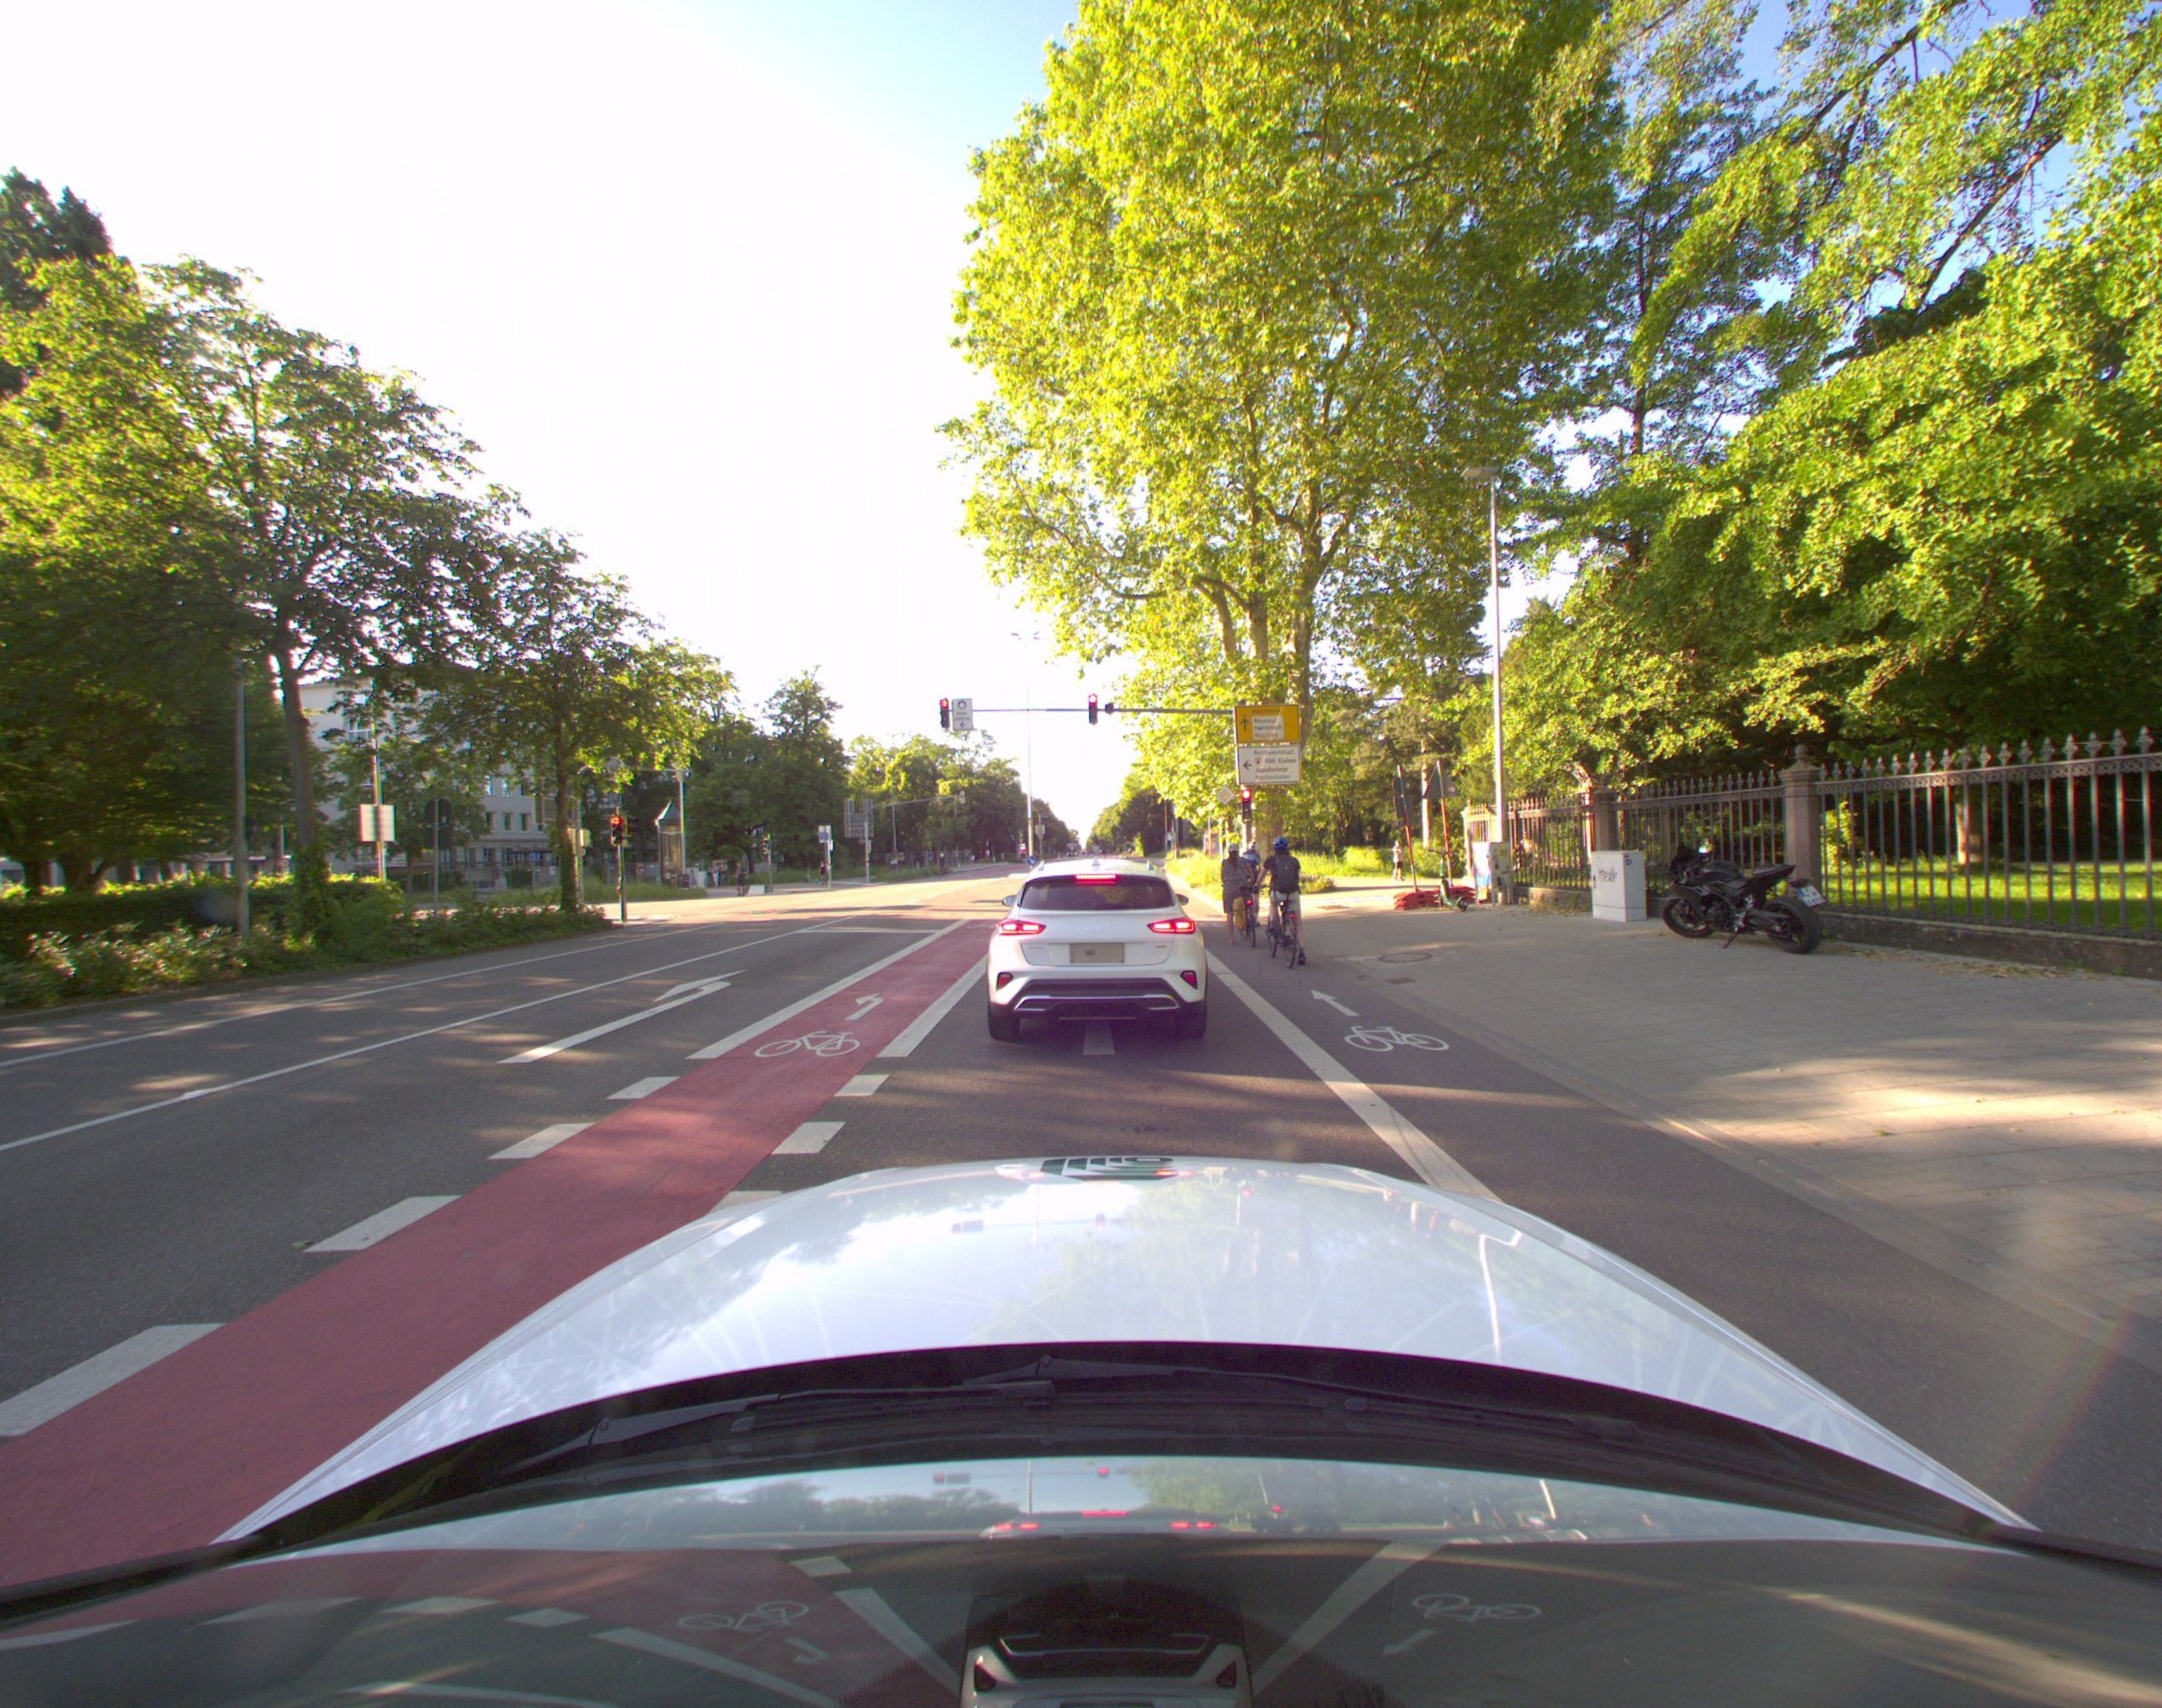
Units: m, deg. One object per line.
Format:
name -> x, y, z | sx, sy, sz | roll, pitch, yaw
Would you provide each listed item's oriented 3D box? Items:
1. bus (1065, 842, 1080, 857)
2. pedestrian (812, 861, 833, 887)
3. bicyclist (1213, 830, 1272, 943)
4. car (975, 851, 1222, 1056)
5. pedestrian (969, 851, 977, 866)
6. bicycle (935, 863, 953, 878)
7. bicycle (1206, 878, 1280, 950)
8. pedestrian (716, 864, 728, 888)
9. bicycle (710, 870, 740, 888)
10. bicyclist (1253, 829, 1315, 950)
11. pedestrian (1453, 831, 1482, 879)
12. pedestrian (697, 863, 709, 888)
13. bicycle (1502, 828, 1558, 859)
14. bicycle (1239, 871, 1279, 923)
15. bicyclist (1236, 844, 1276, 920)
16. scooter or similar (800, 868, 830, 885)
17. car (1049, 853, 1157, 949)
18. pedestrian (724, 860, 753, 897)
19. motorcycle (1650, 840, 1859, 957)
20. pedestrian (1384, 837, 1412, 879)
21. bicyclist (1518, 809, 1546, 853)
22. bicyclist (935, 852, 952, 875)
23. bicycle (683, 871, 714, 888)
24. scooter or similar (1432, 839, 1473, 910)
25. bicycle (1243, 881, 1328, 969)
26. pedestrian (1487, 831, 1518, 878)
bus -> -2.452, -1.250, 218.996 | 3.731, 3.673, 13.231 | -2, 0, -2
pedestrian -> -17.280, 1.329, 54.416 | 1.086, 1.603, 0.999 | -3, 0, -5
bicyclist -> 2.665, 0.510, 13.542 | 0.750, 1.795, 1.165 | 0, 0, 0
car -> 0.148, 0.733, 8.064 | 1.815, 1.480, 3.936 | -1, 0, 0
pedestrian -> -13.038, 0.546, 98.582 | 0.782, 1.785, 0.751 | -1, -1, 2
bicycle -> -9.911, 1.196, 58.951 | 0.660, 0.989, 2.507 | -3, 0, 4
bicycle -> 2.665, 0.948, 13.669 | 0.755, 1.013, 2.569 | 0, 0, 0
pedestrian -> -24.128, 1.450, 54.678 | 0.628, 1.580, 0.444 | -1, -1, -8
bicycle -> -23.922, 1.675, 54.742 | 1.859, 1.148, 0.290 | -1, -1, -6
bicyclist -> 2.774, 0.463, 11.184 | 0.663, 1.602, 0.721 | -1, 0, 0
pedestrian -> 13.649, 0.035, 28.774 | 0.686, 1.699, 0.644 | -1, -1, 1
pedestrian -> -25.391, 1.464, 54.742 | 0.628, 1.642, 0.444 | -1, -1, -8
bicycle -> 14.943, -0.338, 27.151 | 1.601, 1.015, 0.478 | -1, -1, 27
bicycle -> 3.596, 0.848, 16.558 | 0.400, 0.956, 1.551 | -5, 0, 0
bicyclist -> 3.558, 0.567, 16.602 | 0.552, 1.478, 0.717 | -5, -1, 0
scooter or similar -> -18.619, 1.562, 56.984 | 0.703, 1.124, 1.933 | -1, 0, 34
car -> 0.372, 0.775, 15.214 | 1.723, 1.483, 3.516 | -3, 0, 0
pedestrian -> -18.720, 1.335, 44.571 | 0.990, 2.014, 1.193 | -1, -1, 7
motorcycle -> 7.455, 0.451, 9.186 | 0.504, 1.131, 2.170 | -4, 0, 0
pedestrian -> 11.685, 0.159, 30.031 | 0.812, 1.518, 0.919 | -1, -1, 12
bicyclist -> 15.013, -0.751, 27.116 | 0.774, 1.431, 0.670 | -1, -1, 27
bicyclist -> -9.934, 0.699, 58.941 | 0.871, 1.608, 1.189 | -3, 0, 4
bicycle -> -25.845, 1.722, 55.024 | 1.859, 1.148, 0.442 | -1, -1, -6
scooter or similar -> 7.204, 0.382, 15.823 | 0.227, 1.327, 1.172 | -3, 0, 0
bicycle -> 2.780, 0.930, 11.305 | 0.666, 1.009, 2.081 | -1, 0, 0
pedestrian -> 15.277, 0.028, 29.542 | 0.819, 1.681, 0.696 | -2, -1, 15
